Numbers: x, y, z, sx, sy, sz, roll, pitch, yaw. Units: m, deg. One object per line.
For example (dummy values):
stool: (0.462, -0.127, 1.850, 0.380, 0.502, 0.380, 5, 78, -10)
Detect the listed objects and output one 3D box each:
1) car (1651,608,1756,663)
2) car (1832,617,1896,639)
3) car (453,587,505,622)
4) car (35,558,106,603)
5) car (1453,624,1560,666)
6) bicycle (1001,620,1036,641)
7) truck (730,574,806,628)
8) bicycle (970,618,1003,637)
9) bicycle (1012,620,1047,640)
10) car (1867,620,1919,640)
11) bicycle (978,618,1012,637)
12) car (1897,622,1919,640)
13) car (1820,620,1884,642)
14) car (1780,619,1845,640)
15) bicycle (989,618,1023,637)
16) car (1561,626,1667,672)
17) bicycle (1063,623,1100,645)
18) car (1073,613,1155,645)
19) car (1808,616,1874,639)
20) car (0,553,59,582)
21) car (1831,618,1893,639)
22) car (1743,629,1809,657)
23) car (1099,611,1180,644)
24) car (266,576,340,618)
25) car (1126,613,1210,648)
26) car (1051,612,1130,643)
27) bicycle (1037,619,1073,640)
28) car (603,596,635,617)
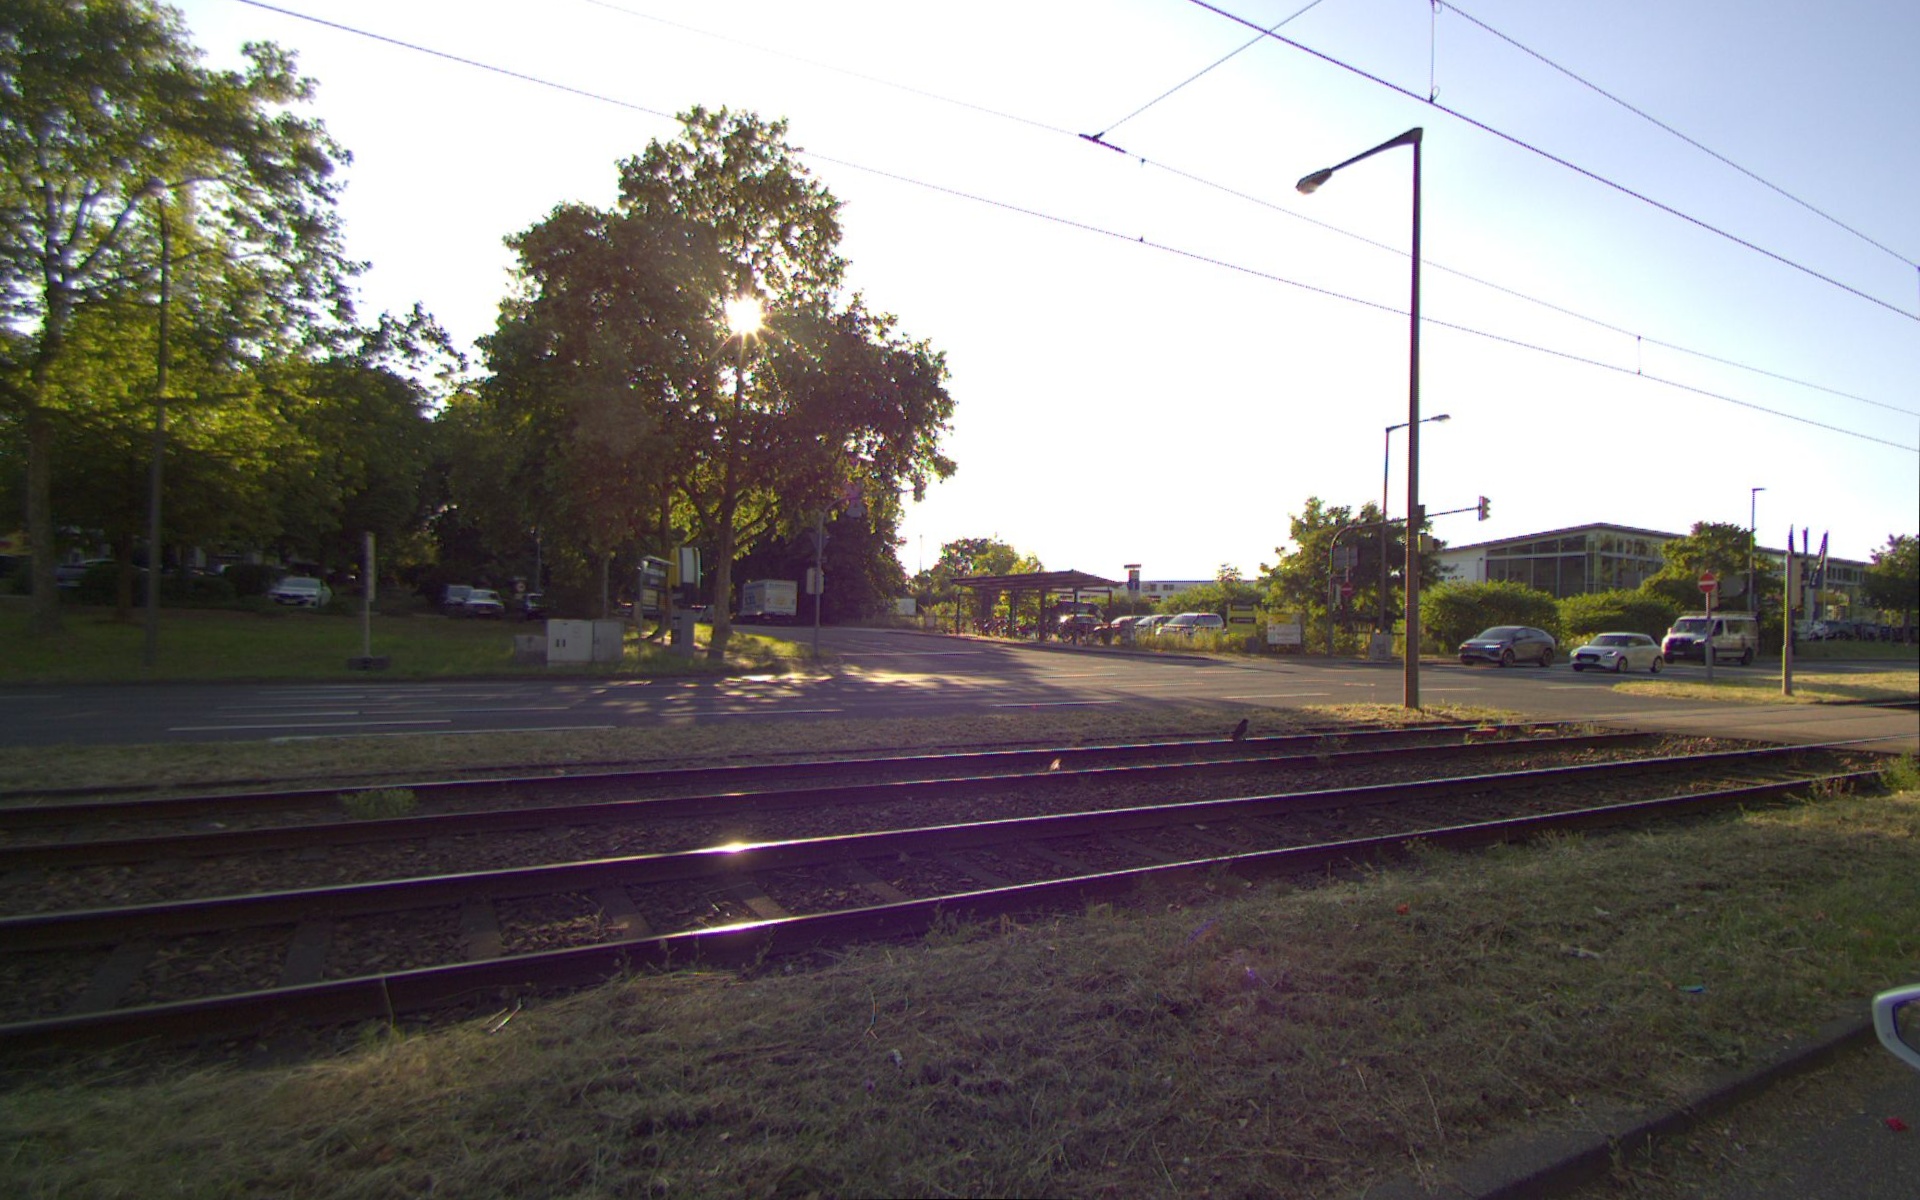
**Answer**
car: (37.205, 1.780, 50.248, 5.805, 2.600, 1.994, 2, 0, -29)
car: (73.147, 2.280, 81.339, 3.745, 1.588, 1.750, 2, 0, 42)
car: (-23.560, 0.194, 49.126, 2.019, 1.595, 4.369, 2, 0, -28)
car: (-36.701, -0.784, 41.543, 1.811, 1.710, 4.180, 2, 0, -37)
car: (22.909, 1.892, 42.094, 4.495, 1.639, 1.861, 2, 0, -30)
bicycle: (3.193, 1.664, 54.744, 1.870, 1.052, 0.540, 2, 0, -29)
truck: (-15.623, 0.047, 80.899, 3.153, 3.927, 11.024, 2, 0, -26)
bicycle: (1.570, 1.596, 58.771, 1.868, 1.052, 0.541, 2, 0, -25)
bicycle: (3.754, 1.641, 54.303, 1.870, 1.052, 0.540, 2, 0, -29)
car: (82.412, 2.666, 88.461, 3.745, 1.588, 1.750, 2, 0, 42)
bicycle: (1.995, 1.572, 57.446, 1.868, 1.052, 0.541, 2, 0, -25)
car: (87.792, 2.881, 91.327, 3.745, 1.588, 1.750, 2, 0, 42)
car: (70.604, 2.421, 79.542, 3.745, 1.588, 1.750, 2, 0, 42)
car: (64.791, 2.234, 76.355, 3.745, 1.407, 1.750, 2, 0, 42)
bicycle: (2.596, 1.545, 56.291, 1.868, 1.052, 0.541, 2, 0, -25)
car: (25.261, 1.879, 38.788, 3.953, 1.639, 1.861, 2, 0, -30)
bicycle: (5.981, 1.672, 49.434, 1.870, 1.052, 0.540, 2, 0, -29)
car: (8.830, 1.664, 57.593, 4.271, 1.670, 2.103, 2, 0, -31)
car: (68.192, 2.113, 77.810, 3.745, 1.588, 1.750, 2, 0, 42)
car: (-55.744, -1.901, 59.037, 1.782, 1.572, 3.977, 1, -1, 43)
car: (75.012, 2.397, 83.576, 3.745, 1.588, 1.750, 2, 0, 42)
car: (61.200, 3.213, 75.349, 3.745, 1.884, 1.750, 2, 0, 42)
car: (9.886, 1.500, 55.364, 3.954, 1.670, 2.103, 2, 0, -31)
car: (-29.742, -0.146, 45.645, 1.972, 1.729, 4.871, 2, 0, -24)
car: (11.021, 1.624, 53.081, 3.954, 1.670, 2.103, 2, 0, -31)
car: (7.720, 1.639, 59.445, 4.271, 1.670, 2.103, 2, 0, -31)
bicycle: (4.943, 1.533, 52.069, 1.870, 1.052, 0.540, 2, 0, -29)
car: (-27.202, 0.495, 80.045, 1.828, 1.572, 3.971, 2, 0, -27)
